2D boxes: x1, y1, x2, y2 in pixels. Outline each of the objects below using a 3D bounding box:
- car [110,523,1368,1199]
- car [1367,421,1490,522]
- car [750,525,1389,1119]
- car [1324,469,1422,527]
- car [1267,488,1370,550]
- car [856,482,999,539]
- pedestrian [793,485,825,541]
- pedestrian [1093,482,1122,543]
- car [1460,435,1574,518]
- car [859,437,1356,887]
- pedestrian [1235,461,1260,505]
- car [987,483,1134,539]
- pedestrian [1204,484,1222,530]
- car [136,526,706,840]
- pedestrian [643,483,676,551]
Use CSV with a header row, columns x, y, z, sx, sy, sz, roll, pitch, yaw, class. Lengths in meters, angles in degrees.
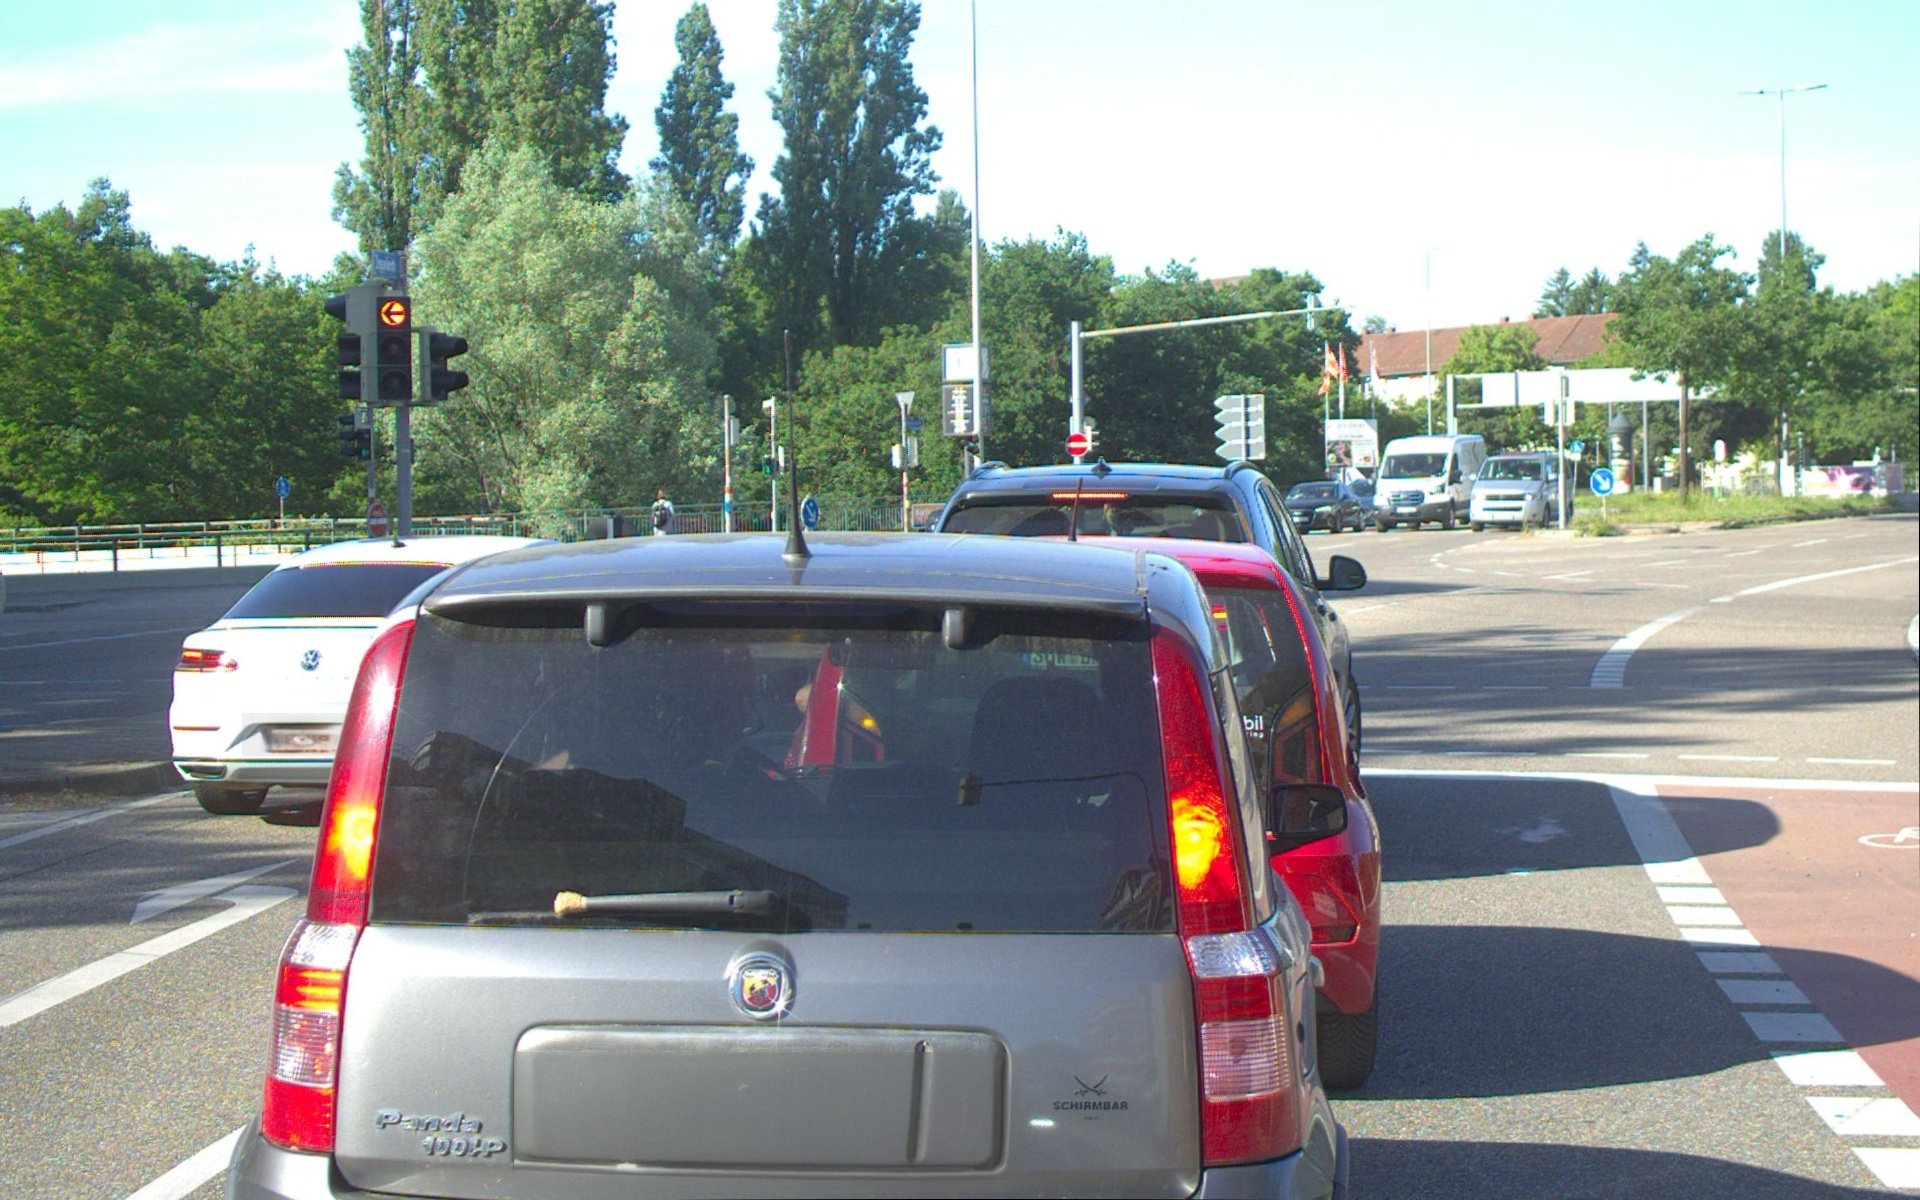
x,y,z,sx,sy,sz,roll,pitch,yaw,class
-0.130,0.652,6.332,1.618,1.510,3.819,-1,2,5,car
12.411,-3.404,90.737,1.938,2.567,6.083,0,2,20,car
0.432,0.537,10.676,1.618,1.458,3.750,-1,2,5,car
11.829,-2.932,98.336,1.812,1.536,4.613,-2,2,19,car
9.592,-2.177,91.746,1.938,1.502,3.997,-2,2,17,car
-0.981,-2.708,104.257,3.988,1.619,1.900,0,1,-38,car
-4.385,-2.521,99.704,0.709,1.542,0.729,-2,-1,-16,pedestrian
3.849,-2.275,89.479,0.556,1.542,0.576,-2,1,-16,pedestrian
14.105,-3.138,86.789,1.938,2.001,4.927,0,2,20,car
0.835,0.189,16.171,1.946,1.833,4.152,-1,2,8,car
10.990,-4.466,131.429,0.721,1.635,0.671,1,0,25,pedestrian
2.993,-2.663,102.014,4.317,1.530,1.784,-3,4,-41,car
9.435,-3.471,128.062,0.499,1.696,0.499,1,0,24,pedestrian
-2.720,0.346,18.425,1.781,1.410,4.318,0,2,9,car
-6.548,-1.818,74.831,0.679,1.458,0.703,-1,2,-6,pedestrian
